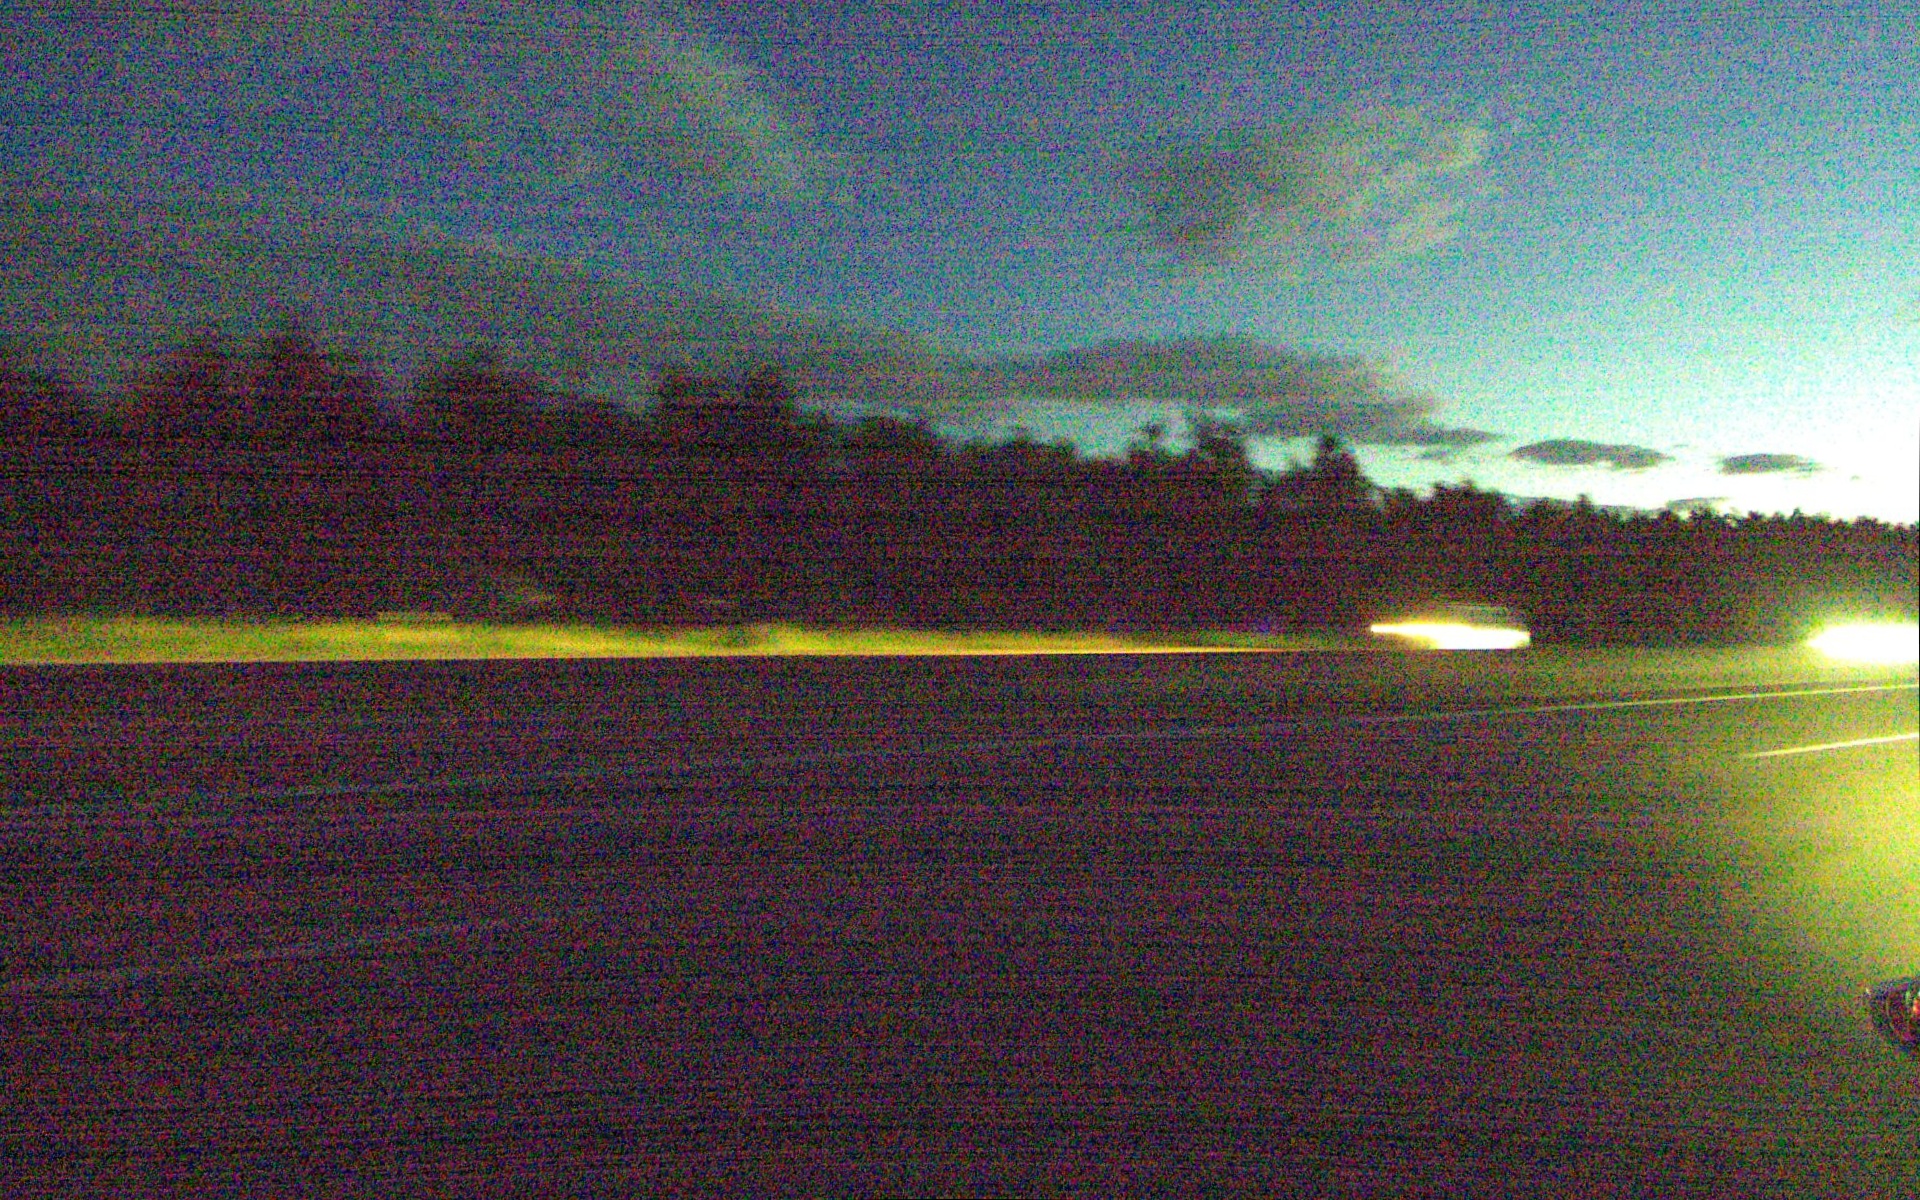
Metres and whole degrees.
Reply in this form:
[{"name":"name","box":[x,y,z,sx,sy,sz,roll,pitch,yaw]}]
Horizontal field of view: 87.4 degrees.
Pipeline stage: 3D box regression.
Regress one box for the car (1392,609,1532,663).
[{"name":"car","box":[18.152,1.310,36.271,5.027,1.801,1.985,2,0,-29]}]

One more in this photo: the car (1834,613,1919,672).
[{"name":"car","box":[34.718,1.570,37.259,4.549,2.040,1.985,2,0,-29]}]
